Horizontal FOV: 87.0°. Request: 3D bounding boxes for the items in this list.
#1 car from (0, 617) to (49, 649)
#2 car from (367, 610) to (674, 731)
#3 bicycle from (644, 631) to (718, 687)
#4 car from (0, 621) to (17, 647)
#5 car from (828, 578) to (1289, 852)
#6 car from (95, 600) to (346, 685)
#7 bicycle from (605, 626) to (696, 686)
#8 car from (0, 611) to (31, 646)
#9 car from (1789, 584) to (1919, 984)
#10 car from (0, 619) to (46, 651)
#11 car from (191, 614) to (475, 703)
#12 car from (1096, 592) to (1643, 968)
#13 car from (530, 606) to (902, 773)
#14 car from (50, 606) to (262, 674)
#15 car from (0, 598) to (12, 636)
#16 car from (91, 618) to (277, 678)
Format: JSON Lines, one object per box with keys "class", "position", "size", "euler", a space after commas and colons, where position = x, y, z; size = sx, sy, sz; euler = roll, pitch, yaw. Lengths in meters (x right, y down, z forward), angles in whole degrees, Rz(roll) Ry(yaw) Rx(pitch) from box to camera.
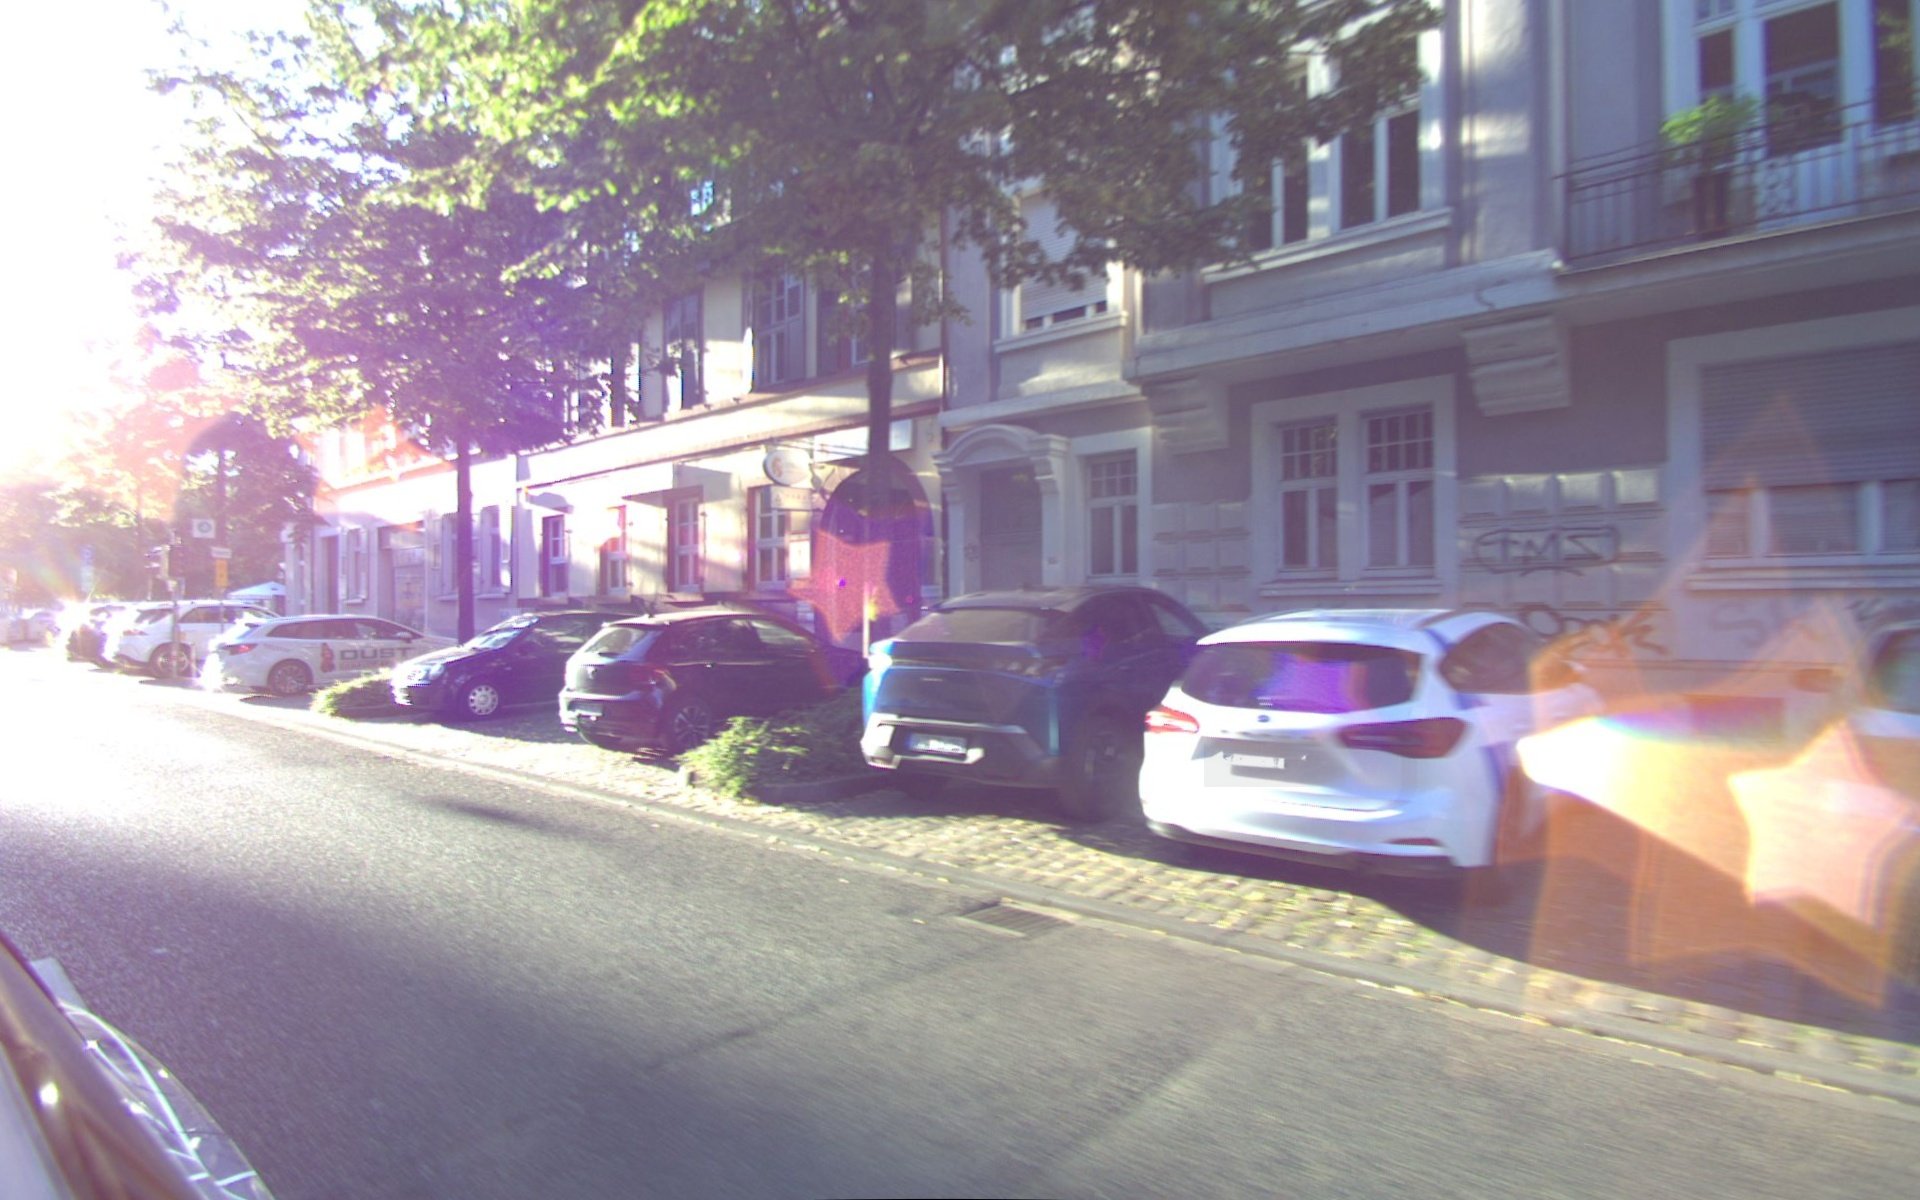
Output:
{"class": "car", "position": [-48.653, 1.653, 50.702], "size": [1.790, 1.569, 4.566], "euler": [-1, -1, 3]}
{"class": "car", "position": [-6.373, 0.937, 14.935], "size": [1.789, 1.459, 3.743], "euler": [-2, 0, 43]}
{"class": "bicycle", "position": [-5.410, 1.120, 19.572], "size": [0.613, 0.996, 1.734], "euler": [-1, 0, -44]}
{"class": "car", "position": [-59.022, 2.036, 59.760], "size": [2.114, 1.594, 4.553], "euler": [-1, -1, 12]}
{"class": "car", "position": [1.064, 0.697, 8.399], "size": [1.890, 1.663, 4.191], "euler": [-2, 0, 37]}
{"class": "car", "position": [-17.997, 0.961, 24.804], "size": [2.052, 1.825, 4.657], "euler": [-2, 0, 42]}
{"class": "bicycle", "position": [-6.152, 1.074, 20.029], "size": [0.702, 1.107, 2.365], "euler": [-1, 0, -44]}
{"class": "car", "position": [-53.739, 1.557, 55.150], "size": [1.876, 1.948, 4.566], "euler": [-1, -1, 3]}
{"class": "car", "position": [5.231, 0.674, 4.686], "size": [1.847, 1.521, 3.369], "euler": [-2, 0, 44]}
{"class": "car", "position": [-51.093, 1.855, 53.202], "size": [1.876, 1.645, 4.566], "euler": [-1, -1, 3]}
{"class": "car", "position": [-12.017, 1.052, 19.633], "size": [1.821, 1.434, 4.337], "euler": [-2, 0, 41]}
{"class": "car", "position": [2.814, 0.736, 6.330], "size": [1.969, 1.494, 4.143], "euler": [-2, 0, 40]}
{"class": "car", "position": [-2.598, 0.863, 11.523], "size": [1.695, 1.459, 3.877], "euler": [-2, 0, 38]}
{"class": "car", "position": [-23.136, 1.097, 29.268], "size": [1.945, 1.796, 4.509], "euler": [0, -1, 40]}
{"class": "car", "position": [-61.454, 1.057, 61.833], "size": [2.136, 2.376, 4.755], "euler": [-1, -1, 13]}
{"class": "car", "position": [-21.069, 1.262, 27.575], "size": [1.820, 1.472, 3.775], "euler": [-2, -1, 42]}
